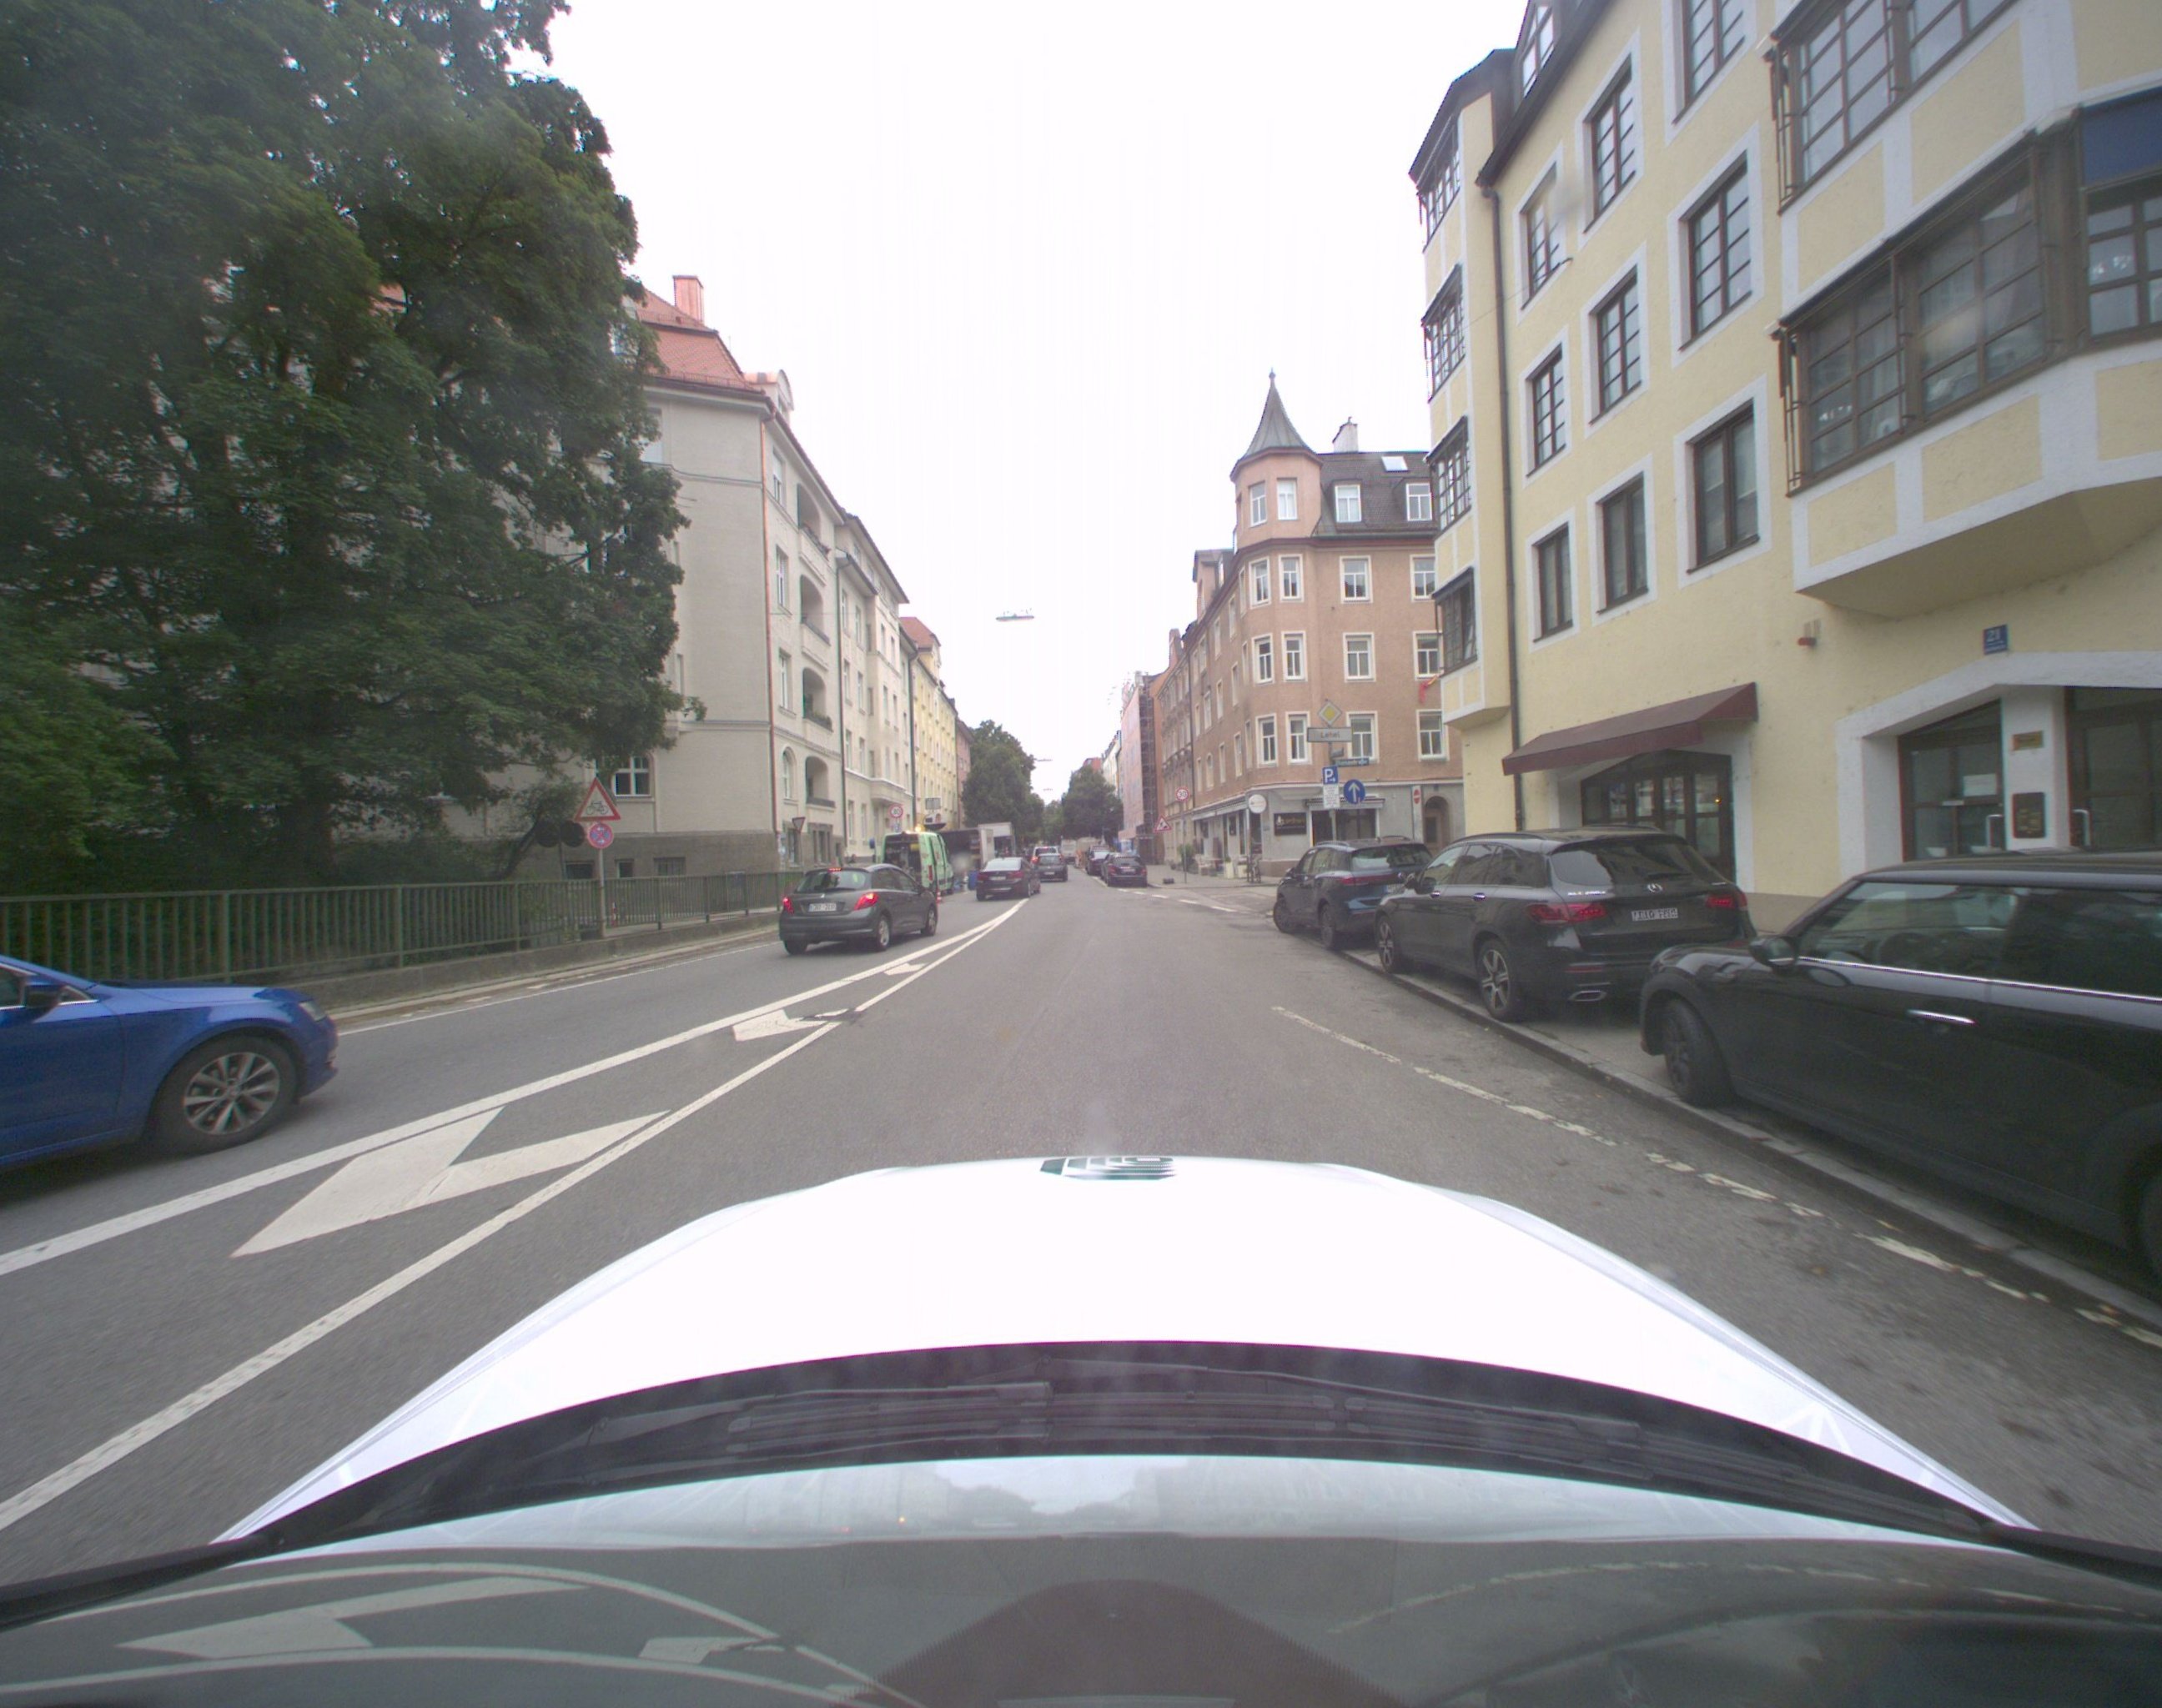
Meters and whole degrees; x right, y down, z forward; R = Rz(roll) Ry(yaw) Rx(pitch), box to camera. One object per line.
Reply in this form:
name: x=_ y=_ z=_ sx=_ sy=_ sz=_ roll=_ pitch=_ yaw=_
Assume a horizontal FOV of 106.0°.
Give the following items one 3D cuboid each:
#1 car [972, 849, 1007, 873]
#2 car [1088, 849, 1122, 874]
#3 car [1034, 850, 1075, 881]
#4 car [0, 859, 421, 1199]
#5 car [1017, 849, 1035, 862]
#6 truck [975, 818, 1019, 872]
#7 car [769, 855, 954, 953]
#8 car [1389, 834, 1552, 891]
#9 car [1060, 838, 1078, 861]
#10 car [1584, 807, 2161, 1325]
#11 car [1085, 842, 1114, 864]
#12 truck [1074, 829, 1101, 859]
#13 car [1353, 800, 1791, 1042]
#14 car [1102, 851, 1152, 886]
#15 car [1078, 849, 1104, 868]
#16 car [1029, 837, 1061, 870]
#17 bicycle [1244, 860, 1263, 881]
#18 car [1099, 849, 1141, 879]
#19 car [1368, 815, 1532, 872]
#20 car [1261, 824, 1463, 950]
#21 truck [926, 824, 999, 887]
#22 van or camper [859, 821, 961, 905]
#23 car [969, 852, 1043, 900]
car: x=-6.440 y=0.463 z=57.772 sx=1.984 sy=1.610 sz=4.139 roll=-2 pitch=0 yaw=-1
car: x=1.449 y=0.433 z=51.404 sx=1.840 sy=1.429 sz=4.303 roll=1 pitch=1 yaw=-3
car: x=-1.331 y=0.564 z=42.484 sx=1.984 sy=1.429 sz=4.139 roll=-2 pitch=1 yaw=-1
car: x=-5.810 y=0.827 z=3.248 sx=1.975 sy=1.454 sz=4.748 roll=-2 pitch=0 yaw=10
car: x=-6.222 y=0.175 z=92.566 sx=1.935 sy=1.448 sz=3.863 roll=-2 pitch=0 yaw=-2
truck: x=-6.645 y=-0.698 z=65.328 sx=3.005 sy=3.951 sz=6.988 roll=-2 pitch=0 yaw=-3
car: x=-3.819 y=0.806 z=14.975 sx=1.749 sy=1.461 sz=4.083 roll=-2 pitch=0 yaw=8
car: x=11.570 y=0.220 z=24.346 sx=4.023 sy=1.456 sz=1.747 roll=-2 pitch=2 yaw=1
car: x=-1.329 y=-0.486 z=92.058 sx=1.933 sy=2.480 sz=4.783 roll=-2 pitch=0 yaw=0
car: x=4.153 y=0.588 z=3.563 sx=1.748 sy=1.496 sz=3.829 roll=-4 pitch=0 yaw=5
car: x=1.319 y=-0.100 z=59.366 sx=1.984 sy=1.429 sz=4.139 roll=-2 pitch=1 yaw=-1
truck: x=0.653 y=-1.057 z=85.244 sx=2.485 sy=2.973 sz=5.324 roll=-2 pitch=0 yaw=-2
car: x=4.399 y=0.483 z=8.358 sx=1.749 sy=1.679 sz=4.710 roll=-4 pitch=0 yaw=3
car: x=2.025 y=0.618 z=37.008 sx=1.840 sy=1.429 sz=4.180 roll=1 pitch=1 yaw=-3
car: x=0.814 y=0.362 z=69.109 sx=1.984 sy=1.429 sz=4.139 roll=-2 pitch=1 yaw=-1
car: x=-2.413 y=-0.085 z=55.395 sx=1.984 sy=2.075 sz=4.139 roll=-2 pitch=1 yaw=-1
bicycle: x=6.840 y=0.656 z=32.308 sx=0.455 sy=0.805 sz=1.327 roll=-2 pitch=0 yaw=1
car: x=2.003 y=0.495 z=42.876 sx=1.840 sy=1.429 sz=4.137 roll=1 pitch=1 yaw=-3
car: x=13.697 y=-0.364 z=30.457 sx=5.113 sy=1.854 sz=2.099 roll=-2 pitch=-2 yaw=-1
car: x=4.498 y=0.468 z=13.845 sx=1.812 sy=1.679 sz=4.510 roll=-4 pitch=0 yaw=0
truck: x=-5.965 y=-0.006 z=42.253 sx=2.765 sy=2.872 sz=7.198 roll=-2 pitch=1 yaw=-1
van or camper: x=-6.469 y=0.256 z=31.788 sx=2.593 sy=2.840 sz=6.184 roll=-2 pitch=1 yaw=-1
car: x=-2.634 y=0.743 z=29.799 sx=1.982 sy=1.429 sz=4.909 roll=-2 pitch=1 yaw=2
